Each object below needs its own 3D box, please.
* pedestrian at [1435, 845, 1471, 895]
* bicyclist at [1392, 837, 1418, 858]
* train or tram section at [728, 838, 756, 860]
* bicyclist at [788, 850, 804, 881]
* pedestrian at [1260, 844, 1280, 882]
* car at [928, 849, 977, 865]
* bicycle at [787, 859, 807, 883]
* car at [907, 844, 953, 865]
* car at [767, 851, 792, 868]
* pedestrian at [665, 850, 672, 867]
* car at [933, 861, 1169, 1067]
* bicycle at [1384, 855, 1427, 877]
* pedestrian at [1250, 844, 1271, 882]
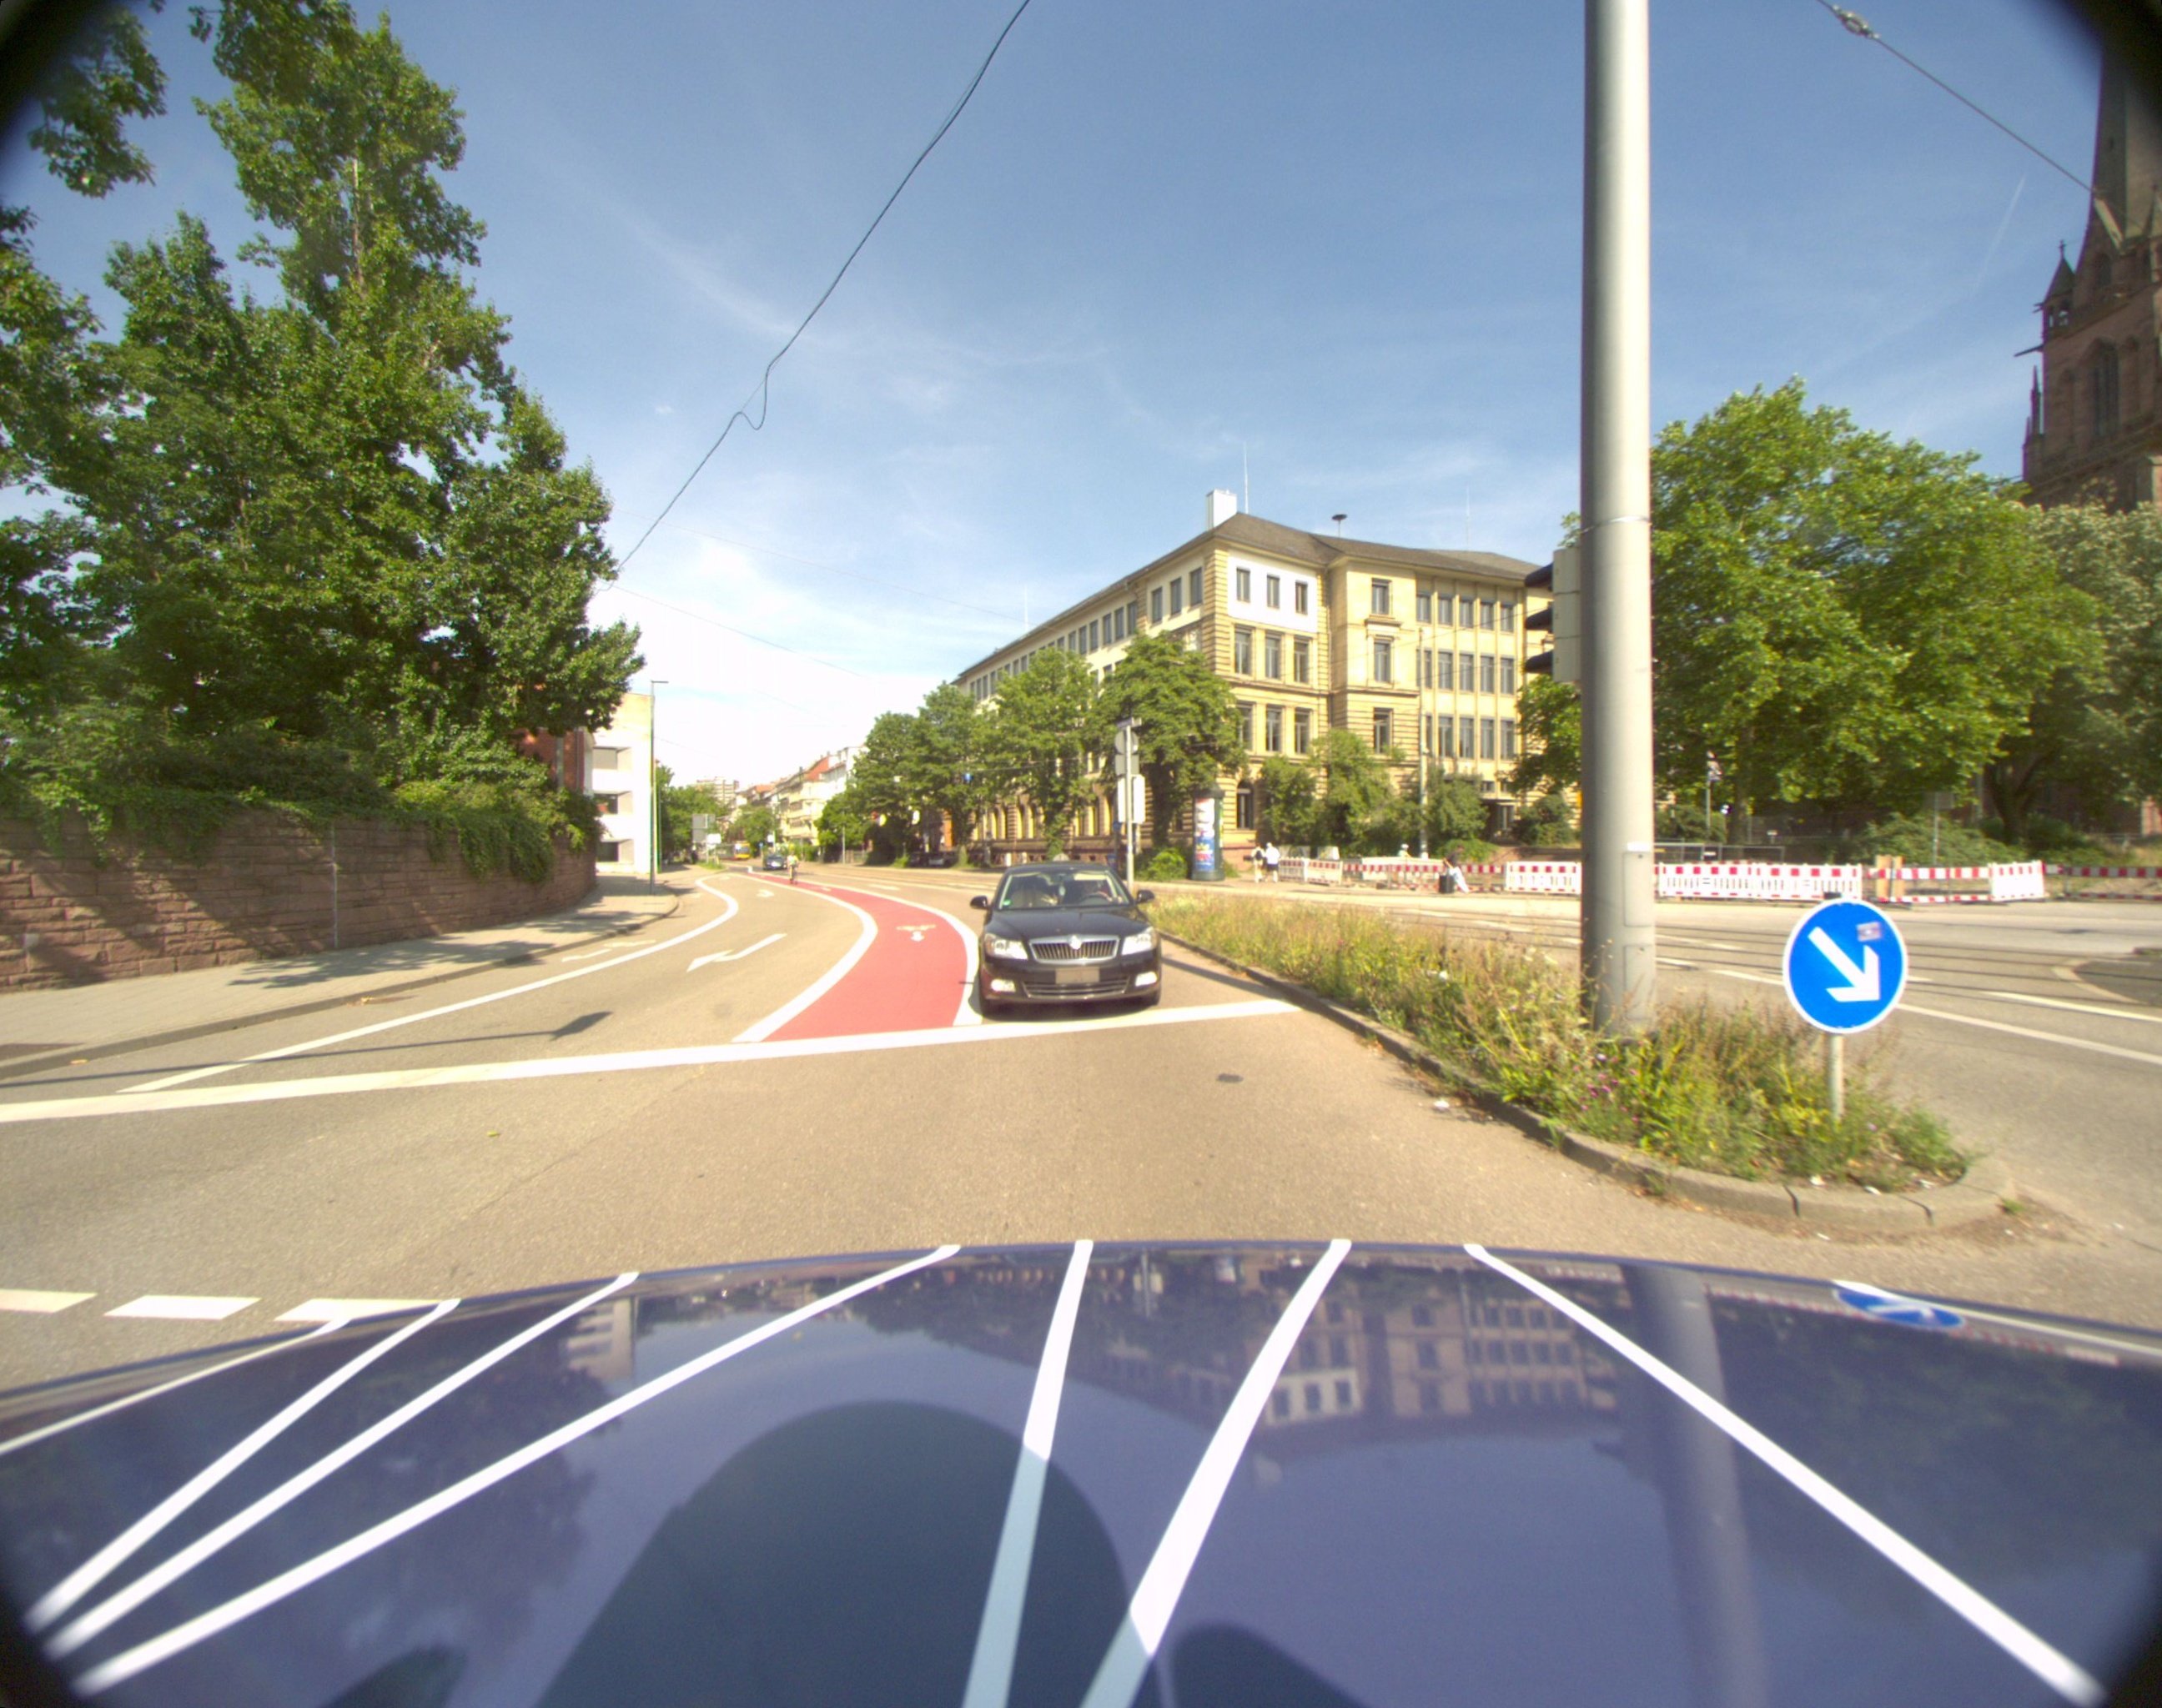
[{"bbox_3d":[12.513,0.540,25.575,0.939,1.646,0.845,0,1,13],"label":"pedestrian"},{"bbox_3d":[14.560,-0.283,34.139,0.684,0.922,0.867,-1,1,-34],"label":"bicyclist"},{"bbox_3d":[-61.382,-0.907,137.411,3.221,3.838,14.552,-1,1,-30],"label":"train or tram section"},{"bbox_3d":[-14.683,0.574,39.145,0.589,1.539,0.929,-3,2,-27],"label":"bicyclist"},{"bbox_3d":[8.814,0.411,35.416,0.743,1.740,0.586,0,1,37],"label":"pedestrian"},{"bbox_3d":[-11.800,0.242,69.737,4.007,1.455,1.995,0,1,-31],"label":"car"},{"bbox_3d":[-14.678,0.854,39.176,0.687,1.215,2.181,-1,1,-28],"label":"bicycle"},{"bbox_3d":[-14.781,0.042,74.509,4.007,2.002,1.995,0,1,-31],"label":"car"},{"bbox_3d":[-26.751,0.471,67.353,1.805,1.368,4.267,-2,1,-26],"label":"car"},{"bbox_3d":[-38.072,0.421,70.091,0.550,1.559,0.929,-1,1,-31],"label":"pedestrian"},{"bbox_3d":[-0.325,0.892,8.441,1.864,1.510,4.825,0,1,-2],"label":"car"},{"bbox_3d":[14.561,0.524,34.176,0.703,0.941,1.661,-1,1,-34],"label":"bicycle"},{"bbox_3d":[8.257,0.393,35.003,0.743,1.740,0.586,0,1,39],"label":"pedestrian"}]
